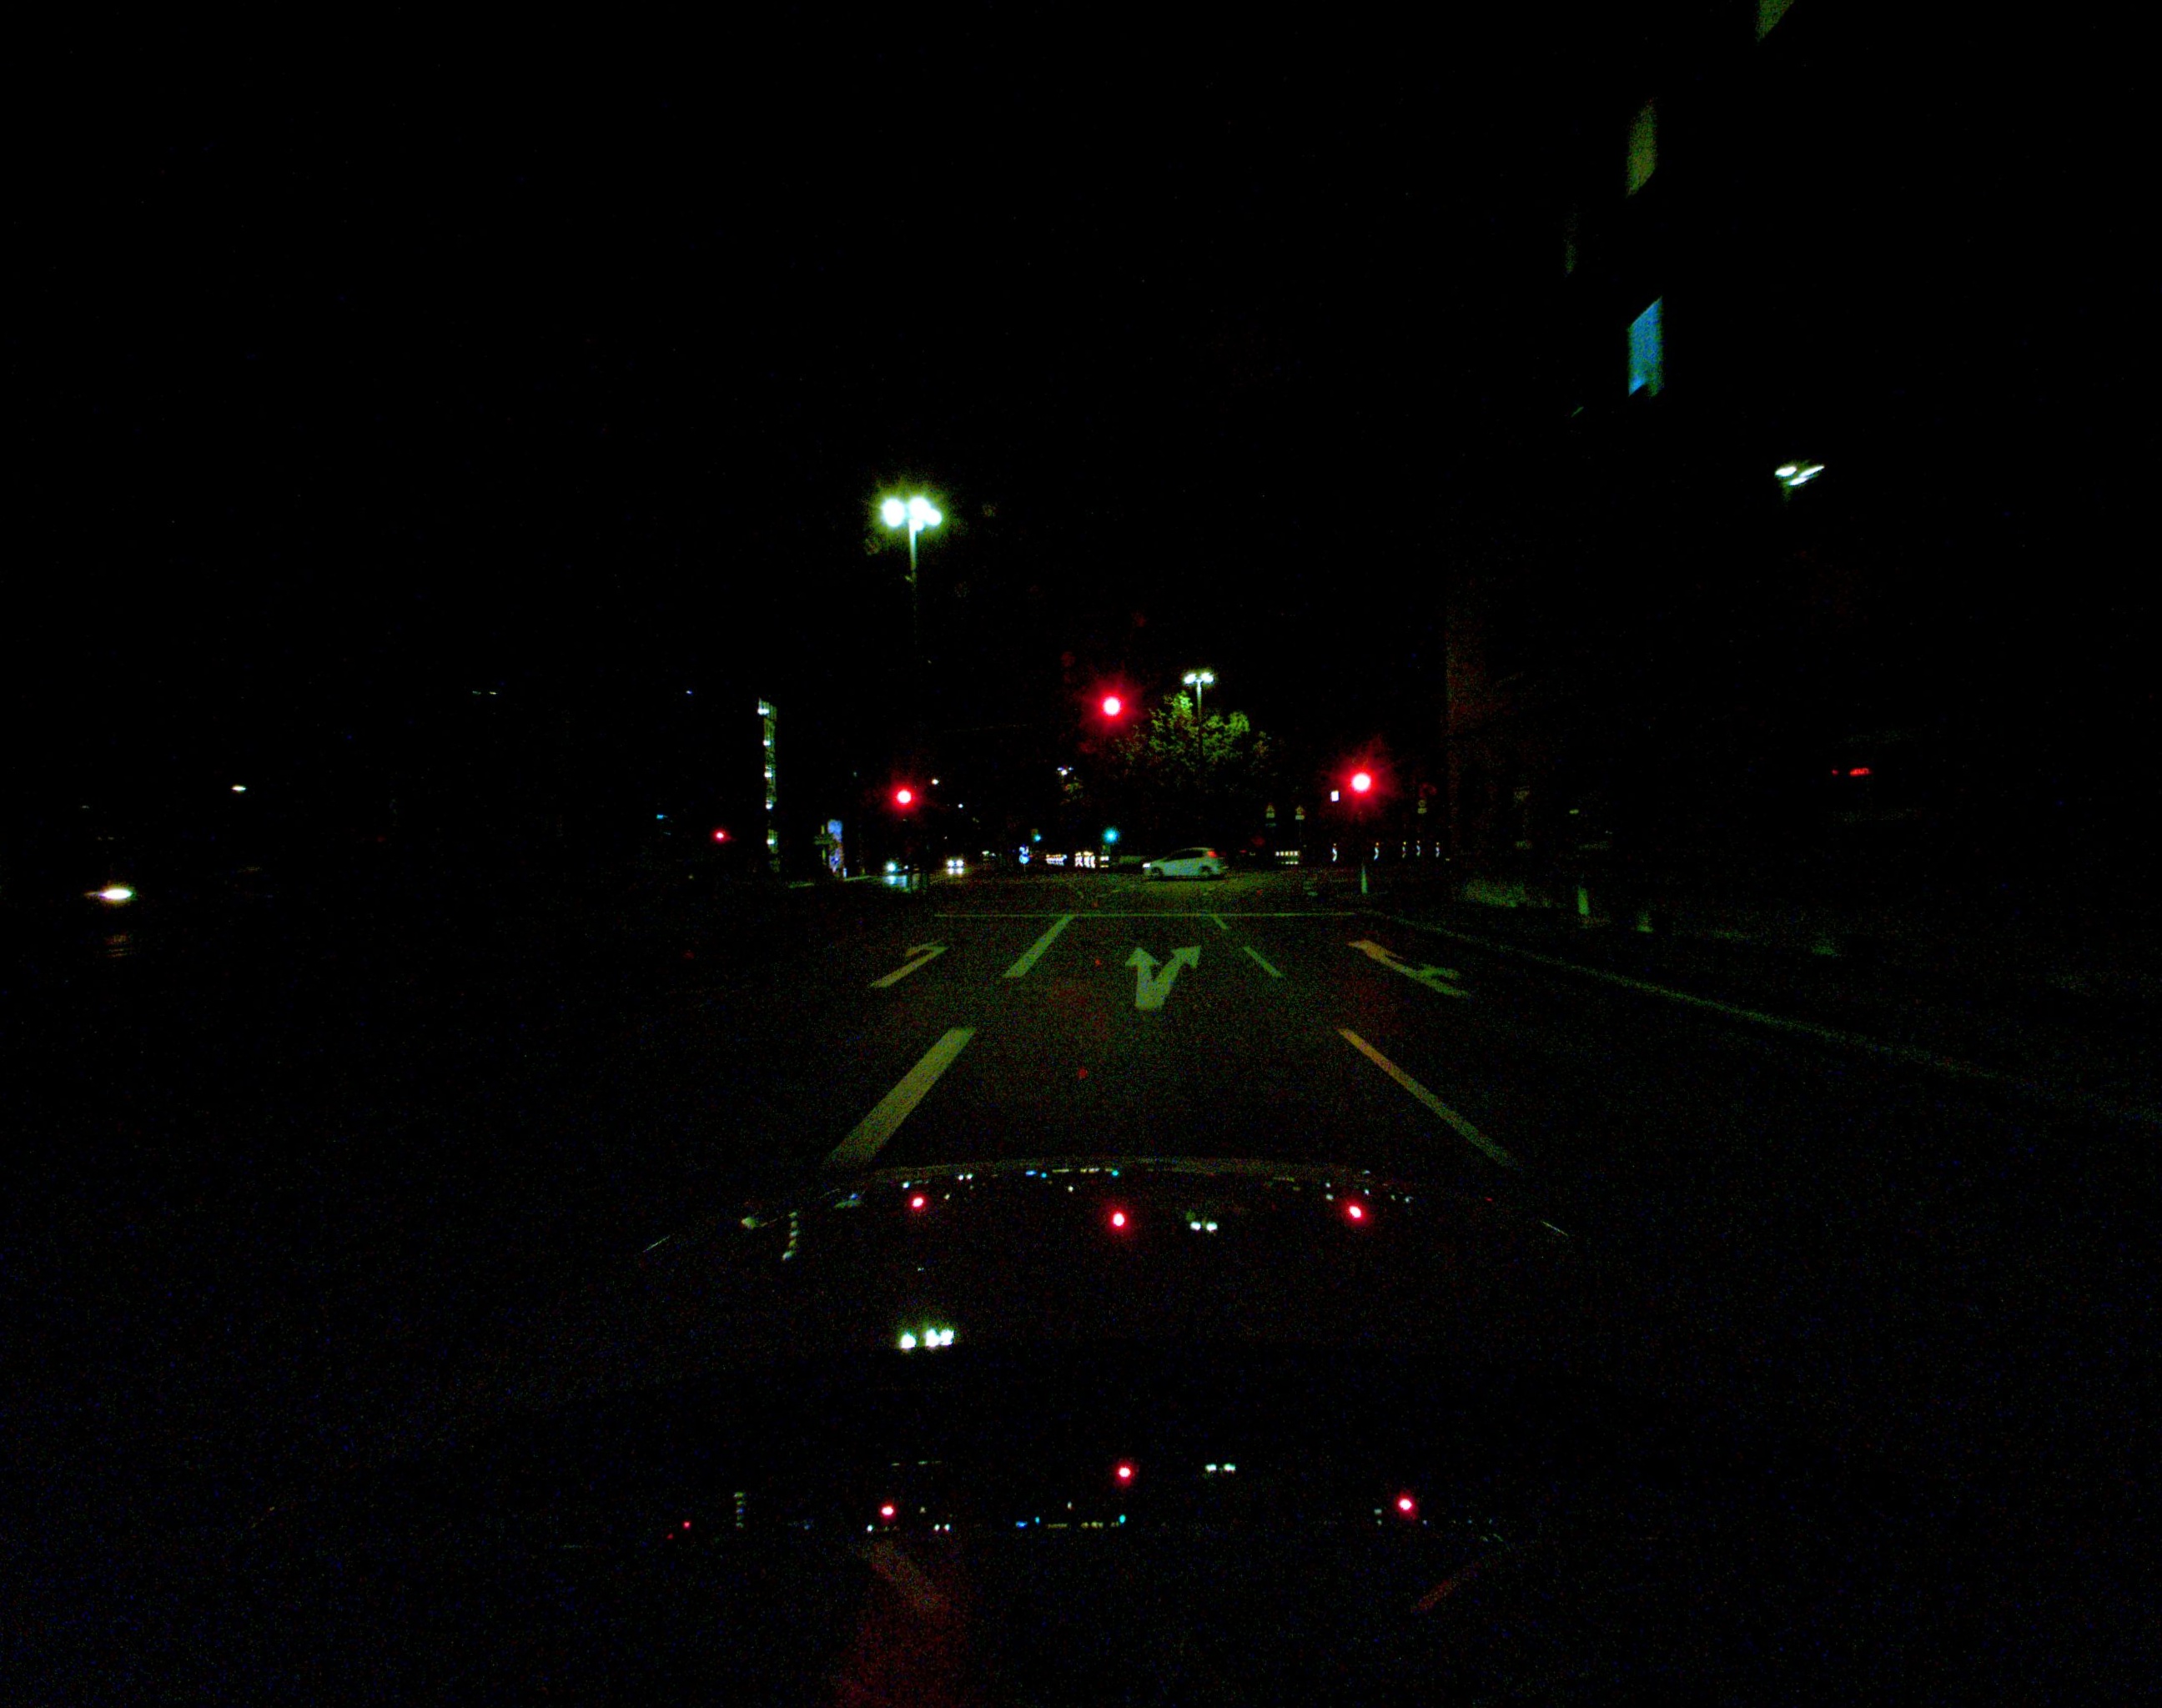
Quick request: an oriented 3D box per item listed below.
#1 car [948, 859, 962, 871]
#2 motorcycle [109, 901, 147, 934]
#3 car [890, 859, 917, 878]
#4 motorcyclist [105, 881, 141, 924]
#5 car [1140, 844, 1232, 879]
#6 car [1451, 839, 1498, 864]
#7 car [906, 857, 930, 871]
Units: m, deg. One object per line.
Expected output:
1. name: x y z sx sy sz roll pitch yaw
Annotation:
1. car: -19.364 1.722 125.453 1.754 1.728 3.542 -2 -1 -4
2. motorcycle: -28.577 1.885 24.436 2.128 0.896 0.583 -3 1 44
3. car: -15.419 1.258 70.836 1.612 1.515 3.995 -2 -1 -3
4. motorcyclist: -28.573 1.438 24.292 0.572 1.261 0.652 -2 -1 44
5. car: 4.990 0.367 38.729 3.949 1.491 1.719 -2 -1 29
6. car: 26.179 -0.172 54.137 1.711 1.611 3.645 -2 -1 44
7. car: -15.684 0.960 78.334 1.754 1.322 3.542 -2 -1 -4
